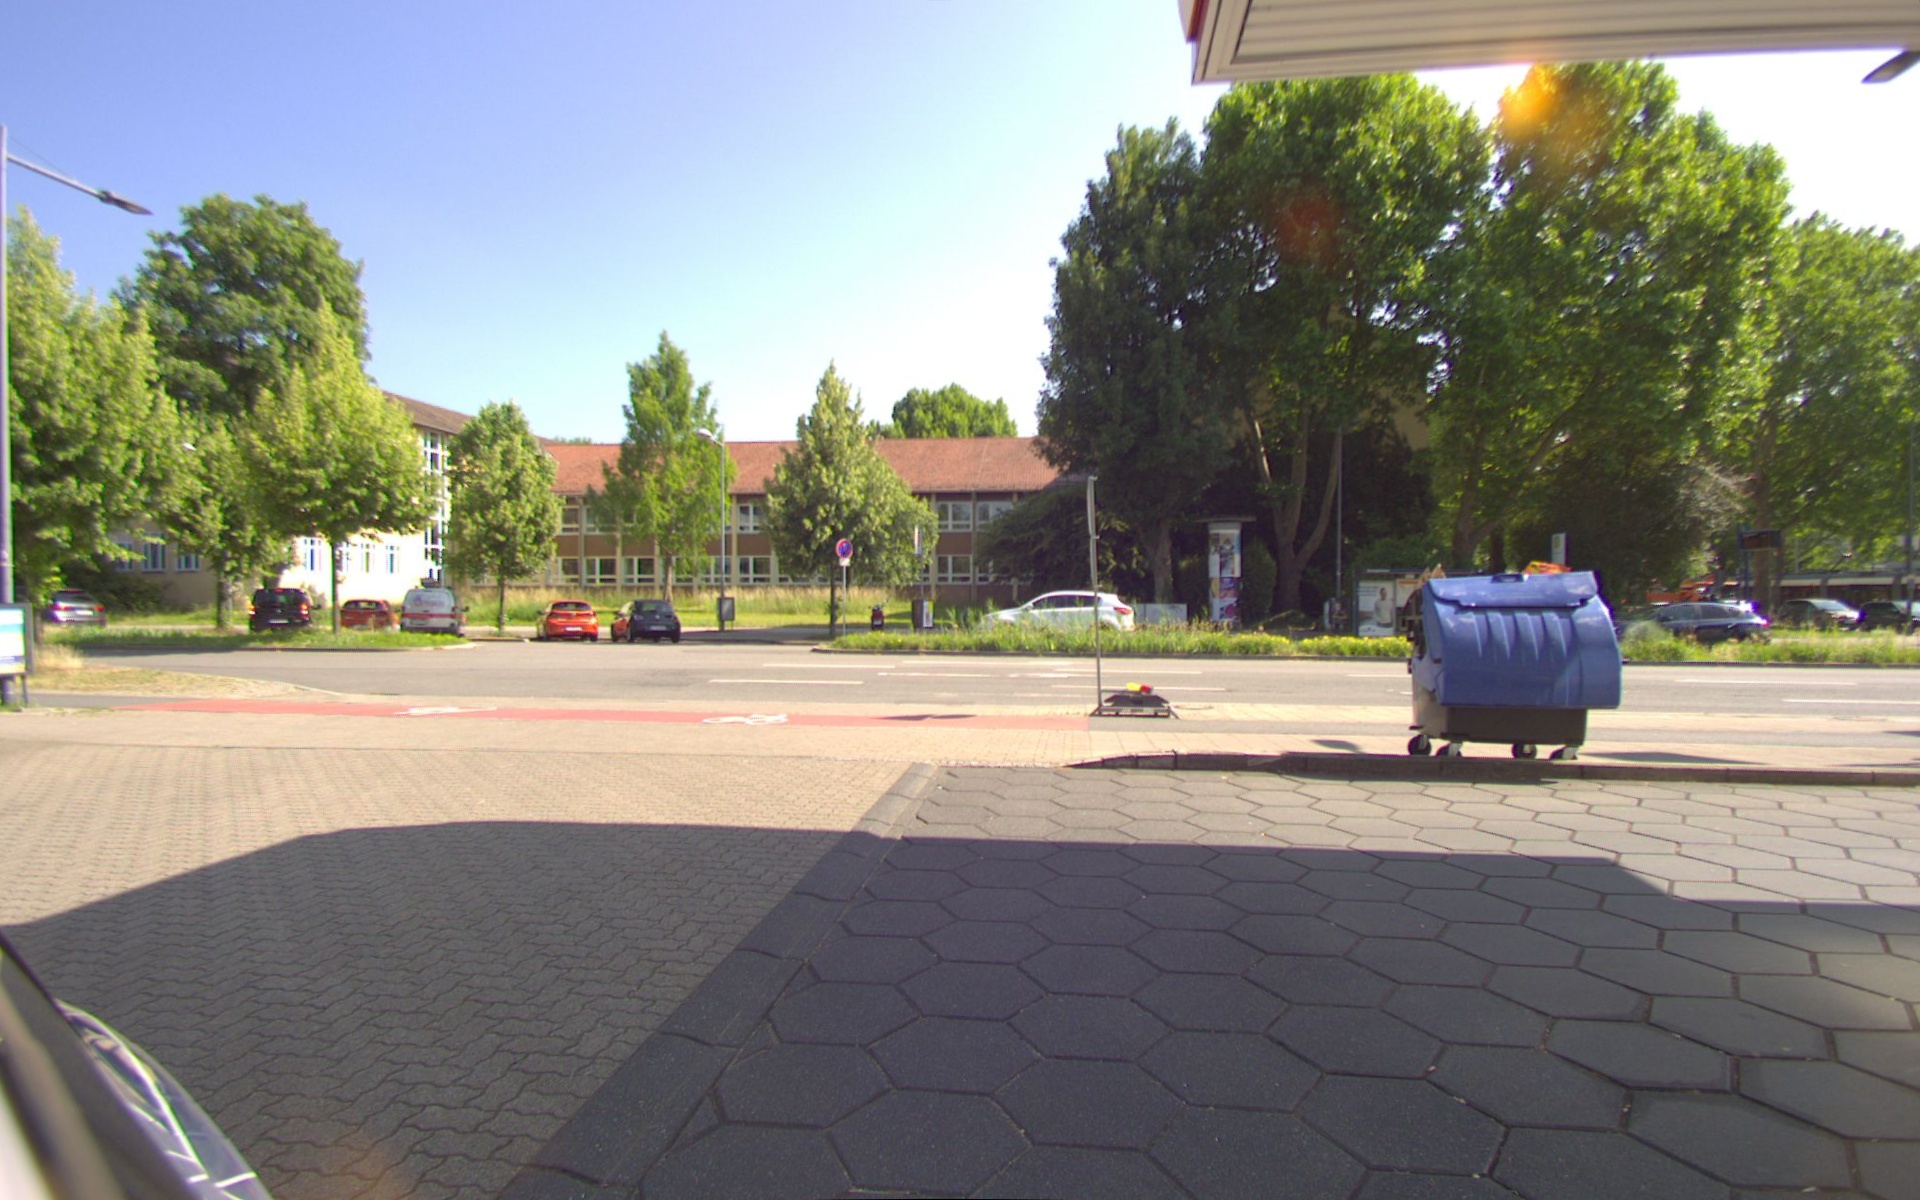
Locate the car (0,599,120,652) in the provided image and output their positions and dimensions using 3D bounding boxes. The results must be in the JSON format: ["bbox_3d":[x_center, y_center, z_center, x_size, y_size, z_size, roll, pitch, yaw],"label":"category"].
[{"bbox_3d":[-30.202,0.833,32.265,5.592,1.623,1.995,0,-3,8],"label":"car"}]

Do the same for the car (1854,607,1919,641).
[{"bbox_3d":[44.322,1.123,47.124,1.844,1.524,3.998,1,-2,2],"label":"car"}]

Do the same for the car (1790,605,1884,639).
[{"bbox_3d":[45.859,1.192,53.031,1.848,1.702,3.989,0,-2,9],"label":"car"}]

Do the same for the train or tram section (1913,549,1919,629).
[{"bbox_3d":[54.234,-0.657,49.745,2.300,4.524,14.912,0,0,7],"label":"train or tram section"}]

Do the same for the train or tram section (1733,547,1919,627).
[{"bbox_3d":[56.057,-0.671,65.087,2.300,4.524,15.892,0,0,7],"label":"train or tram section"}]

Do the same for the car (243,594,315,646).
[{"bbox_3d":[-23.918,0.733,35.666,1.849,1.735,4.238,2,-2,-31],"label":"car"}]

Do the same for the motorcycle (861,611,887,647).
[{"bbox_3d":[-2.840,0.929,33.252,0.548,1.122,1.764,0,0,-15],"label":"motorcycle"}]

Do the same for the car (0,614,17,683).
[{"bbox_3d":[-20.332,0.955,19.280,1.849,1.428,4.239,1,-2,-19],"label":"car"}]

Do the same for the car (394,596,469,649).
[{"bbox_3d":[-18.563,0.799,35.696,1.849,1.735,4.239,1,-2,-21],"label":"car"}]

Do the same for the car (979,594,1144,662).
[{"bbox_3d":[2.801,0.748,27.857,4.340,1.782,1.995,0,0,8],"label":"car"}]

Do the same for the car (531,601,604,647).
[{"bbox_3d":[-13.641,0.847,35.030,1.849,1.471,4.239,2,-2,-28],"label":"car"}]

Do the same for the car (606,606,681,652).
[{"bbox_3d":[-10.917,0.993,34.711,1.711,1.471,4.239,1,-2,-28],"label":"car"}]

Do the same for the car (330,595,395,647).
[{"bbox_3d":[-21.175,0.774,35.883,1.849,1.735,4.238,2,-2,-31],"label":"car"}]

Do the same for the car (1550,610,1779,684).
[{"bbox_3d":[17.921,1.158,25.957,4.344,1.782,1.993,0,0,11],"label":"car"}]

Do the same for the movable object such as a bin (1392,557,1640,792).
[{"bbox_3d":[4.349,0.562,8.097,1.322,1.701,1.339,0,-3,9],"label":"movable object such as a bin"}]
